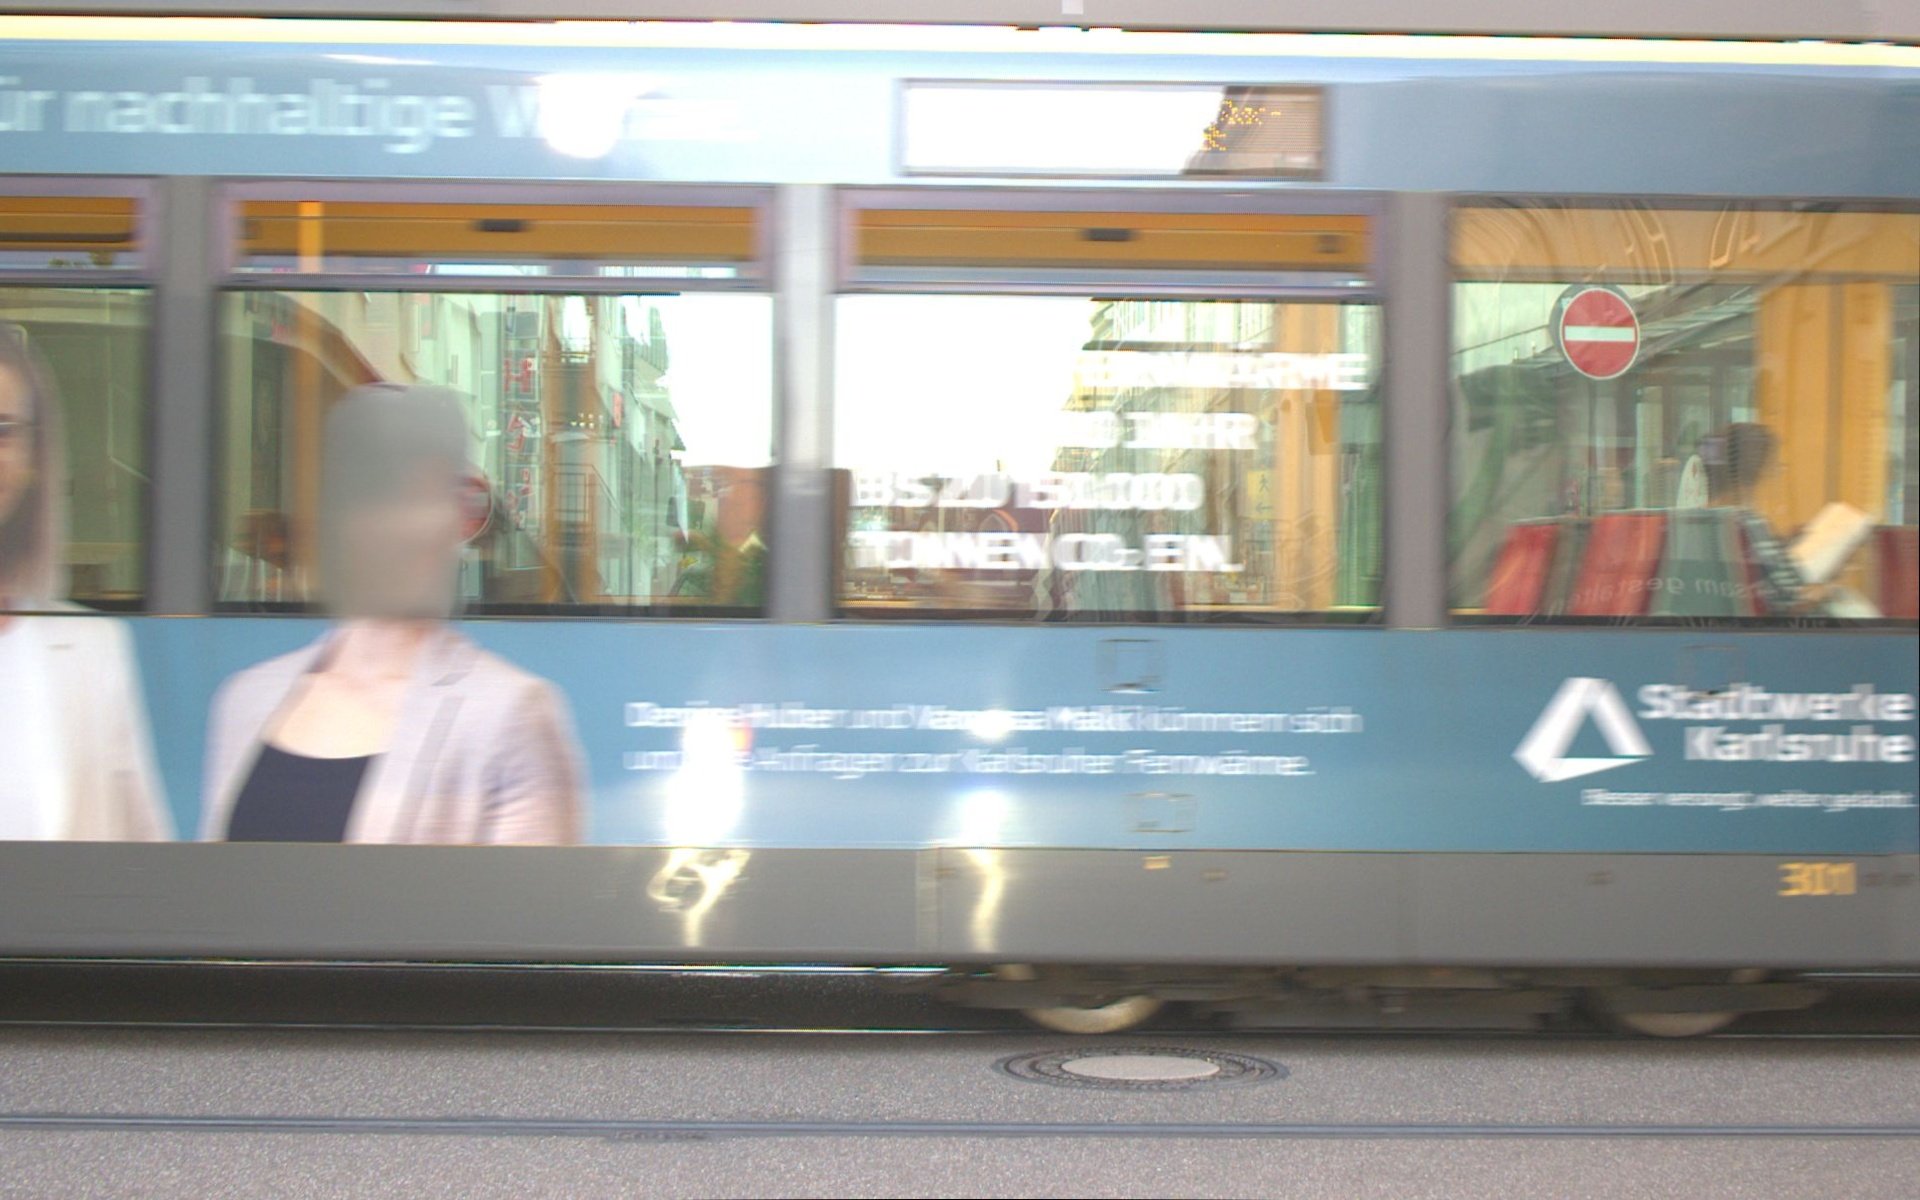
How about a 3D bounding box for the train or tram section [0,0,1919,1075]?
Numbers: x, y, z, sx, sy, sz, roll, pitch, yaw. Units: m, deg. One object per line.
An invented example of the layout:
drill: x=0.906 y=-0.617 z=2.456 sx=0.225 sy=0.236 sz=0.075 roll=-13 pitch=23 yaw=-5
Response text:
train or tram section: x=0.389 y=-0.432 z=11.274 sx=10.335 sy=3.511 sz=3.027 roll=0 pitch=1 yaw=-1
